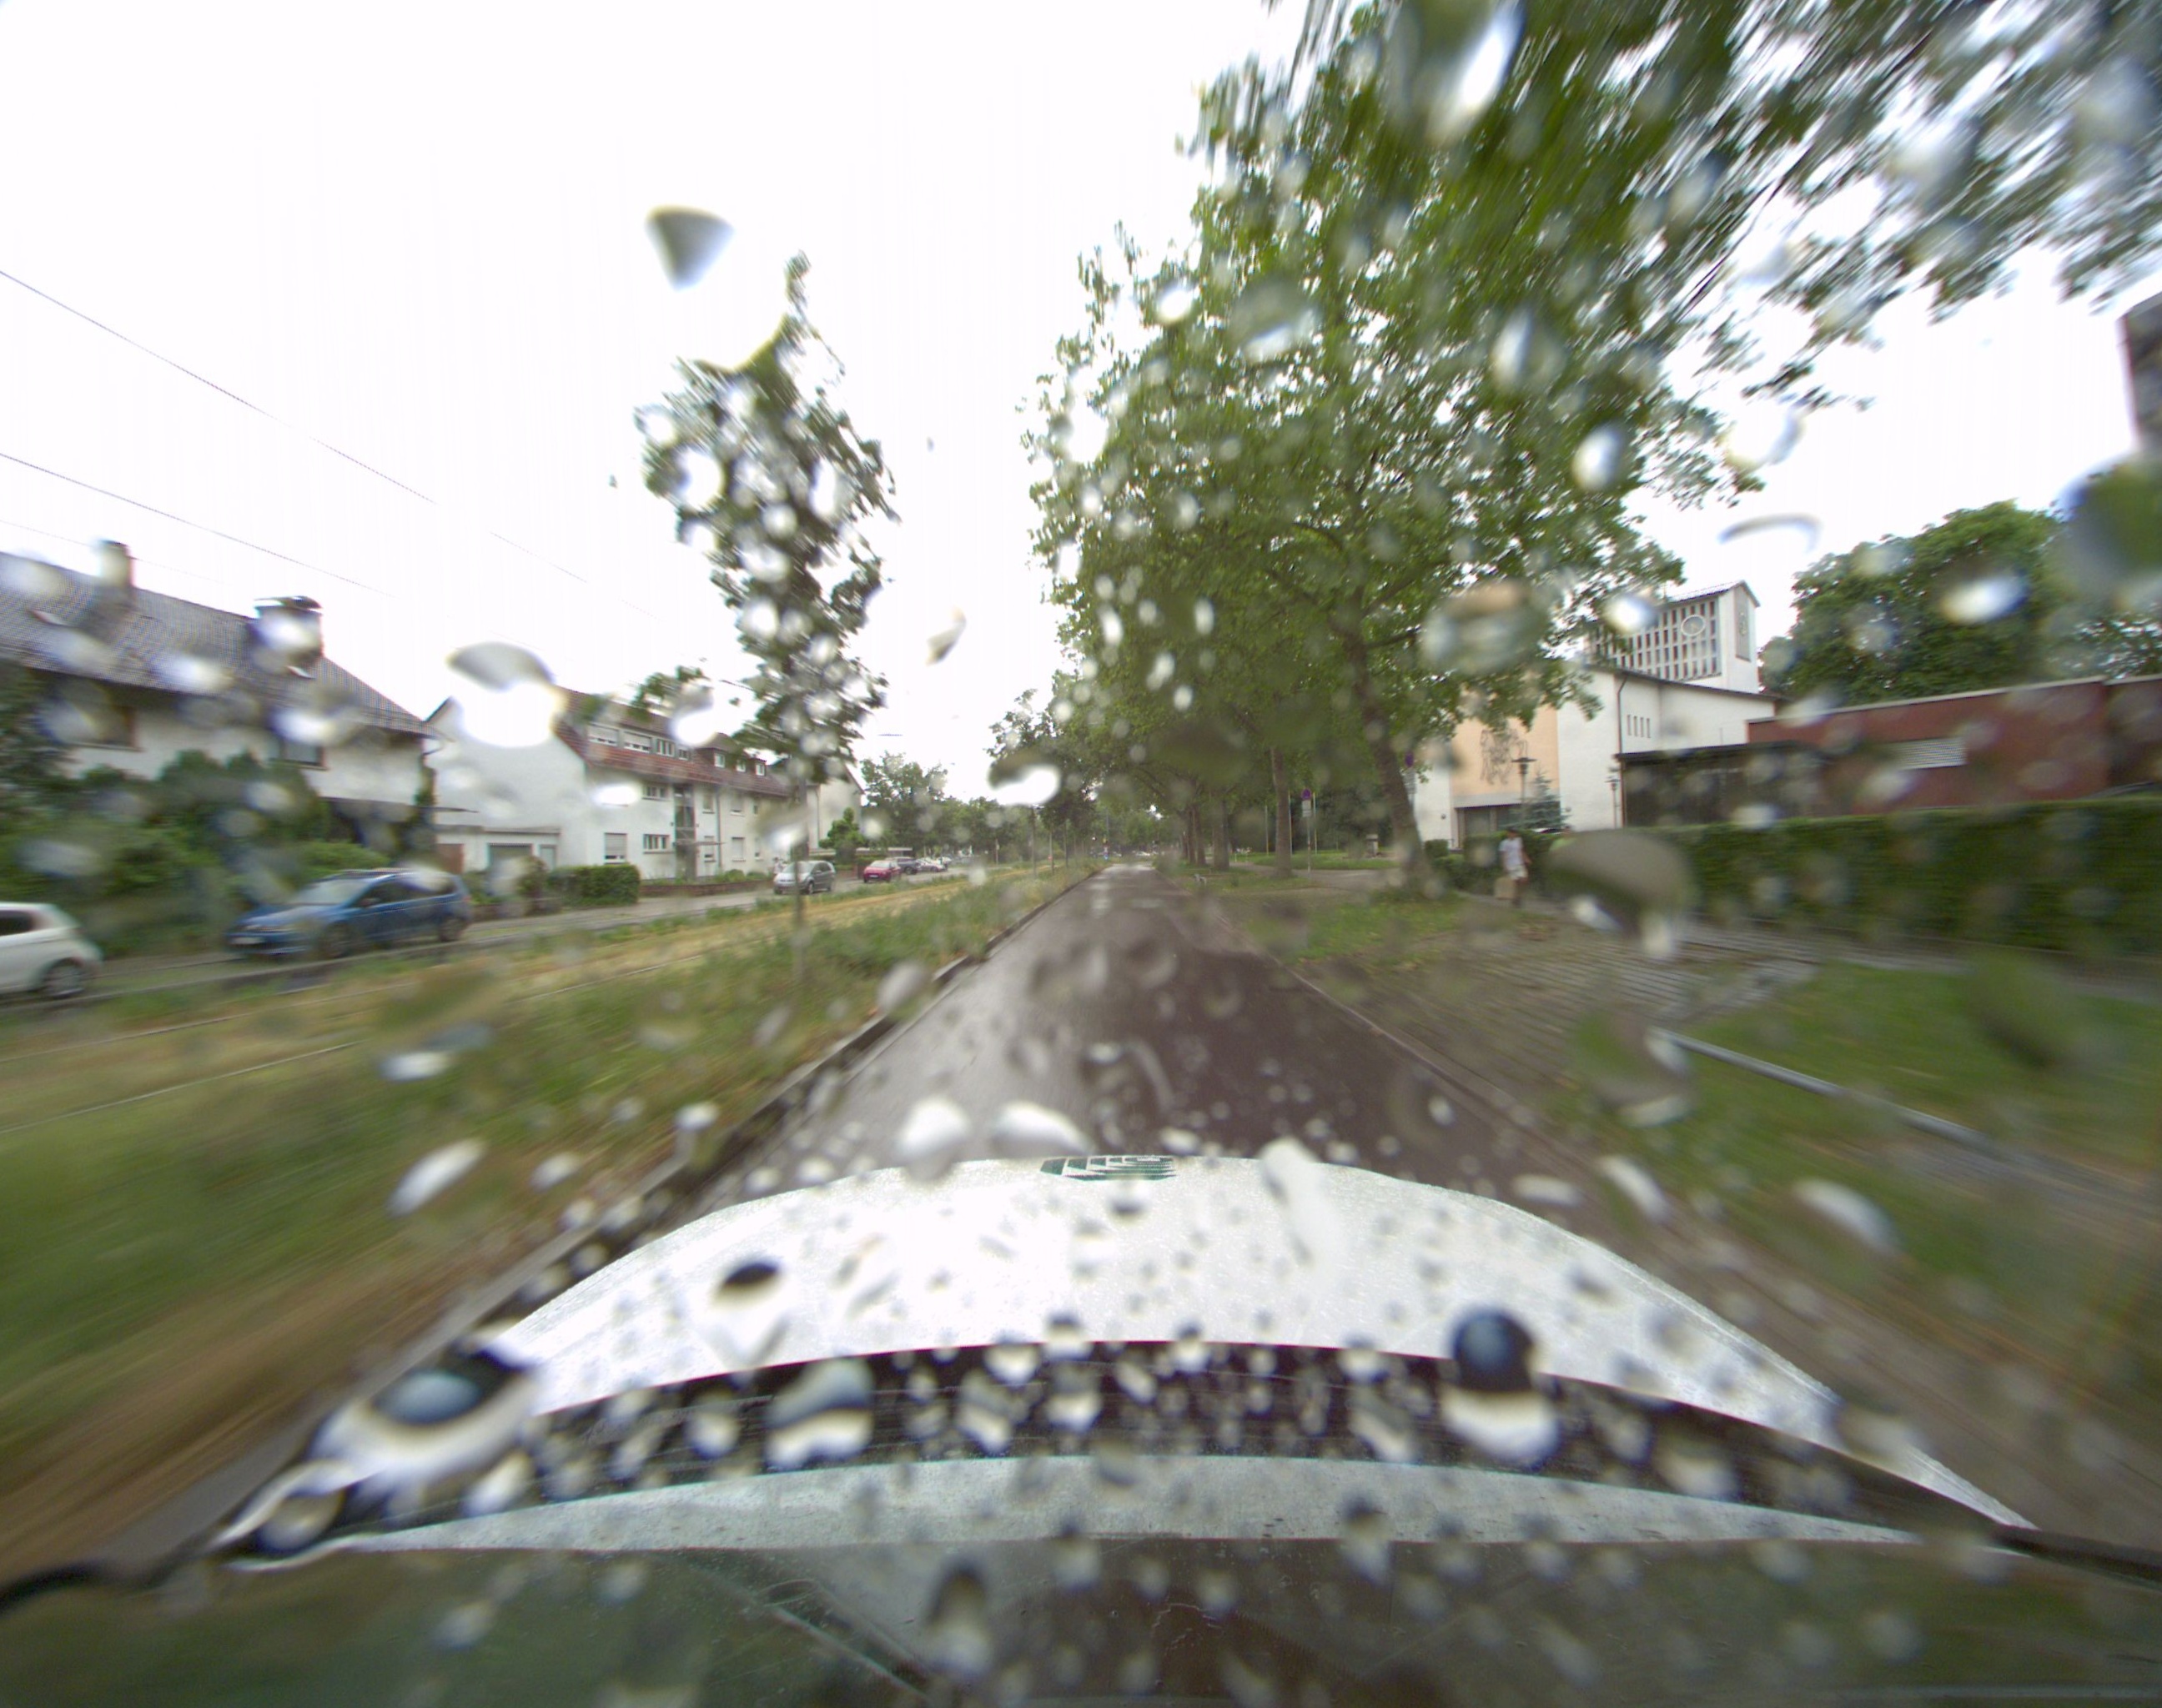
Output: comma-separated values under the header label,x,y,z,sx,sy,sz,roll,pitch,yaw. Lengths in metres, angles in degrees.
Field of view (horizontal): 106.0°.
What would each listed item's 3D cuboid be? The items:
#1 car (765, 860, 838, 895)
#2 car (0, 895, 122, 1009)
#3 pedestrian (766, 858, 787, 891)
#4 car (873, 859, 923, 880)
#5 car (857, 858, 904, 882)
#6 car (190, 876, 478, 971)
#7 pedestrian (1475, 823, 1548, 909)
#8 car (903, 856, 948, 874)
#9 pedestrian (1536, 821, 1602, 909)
label,x,y,z,sx,sy,sz,roll,pitch,yaw
car,-14.044,1.122,41.245,1.986,1.581,4.519,0,1,2
car,-15.757,1.395,10.776,1.789,1.488,3.599,0,1,2
pedestrian,-16.686,1.114,44.598,0.699,1.755,0.855,-3,0,3
car,-16.523,1.405,73.741,3.974,1.616,2.000,-3,0,0
car,-13.501,1.073,55.137,1.986,1.488,4.208,0,1,2
car,-15.661,1.363,17.504,1.986,1.614,4.416,0,1,2
pedestrian,8.174,0.224,15.499,0.831,1.538,0.859,-3,0,-3
car,-15.615,1.128,81.983,3.974,1.616,2.000,-3,0,0
pedestrian,8.899,0.191,14.887,0.555,1.538,0.966,-2,0,-2
